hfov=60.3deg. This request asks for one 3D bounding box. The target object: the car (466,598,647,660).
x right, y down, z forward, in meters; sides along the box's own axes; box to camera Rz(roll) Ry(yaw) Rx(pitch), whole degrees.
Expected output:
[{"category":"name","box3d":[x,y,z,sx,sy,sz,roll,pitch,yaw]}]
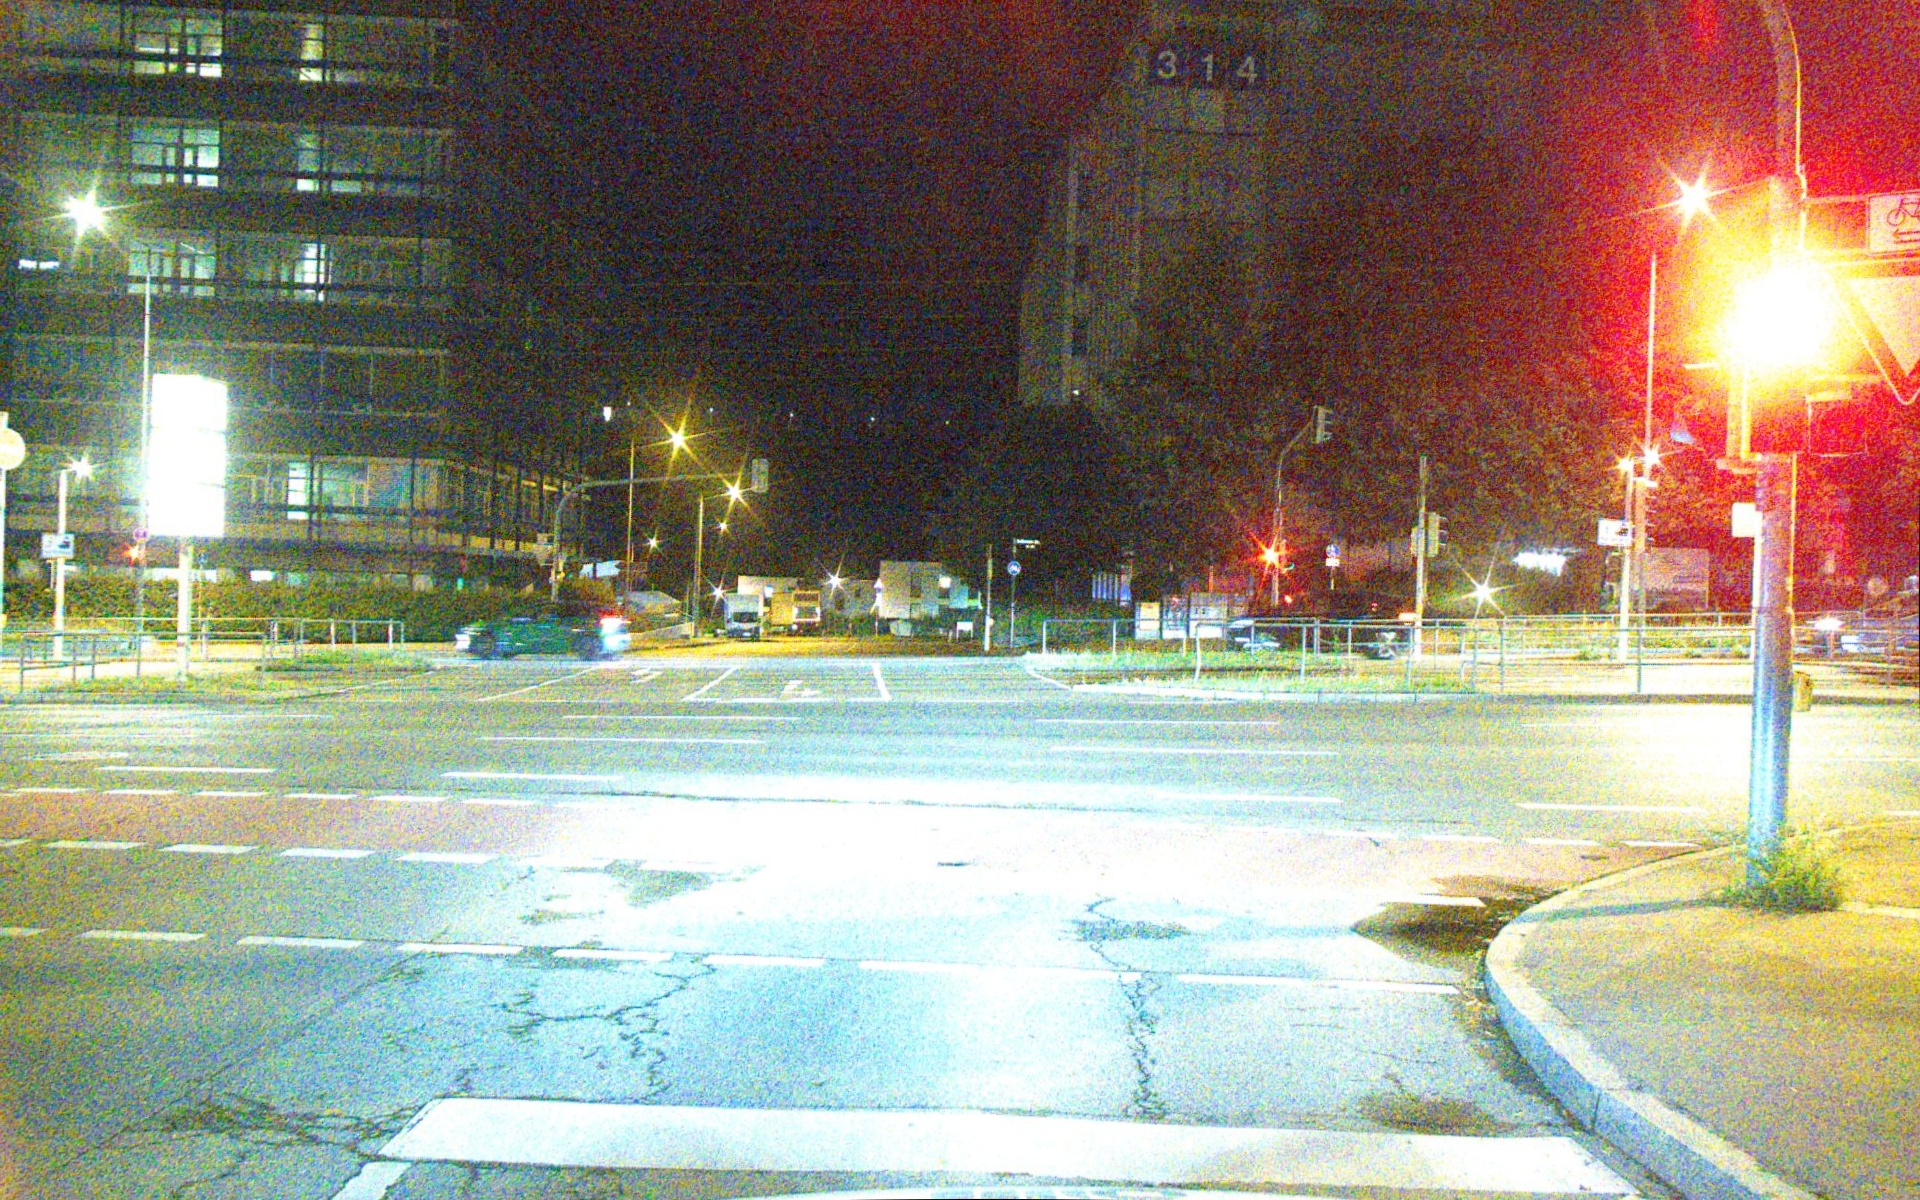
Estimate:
[{"category":"car","box3d":[-9.953,0.698,40.986,3.976,1.449,1.844,0,2,2]}]

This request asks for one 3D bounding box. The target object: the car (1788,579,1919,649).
[{"category":"car","box3d":[22.253,0.359,39.392,4.145,1.613,1.804,1,-1,3]}]

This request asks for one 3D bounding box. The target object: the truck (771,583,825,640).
[{"category":"truck","box3d":[-14.625,1.024,148.604,3.307,4.927,7.868,2,-1,-17]}]

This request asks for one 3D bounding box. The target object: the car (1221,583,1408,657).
[{"category":"car","box3d":[7.872,0.433,36.986,3.903,1.613,1.805,0,0,5]}]

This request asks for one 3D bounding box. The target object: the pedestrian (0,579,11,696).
[{"category":"pedestrian","box3d":[-14.828,0.557,24.832,0.664,1.752,0.705,1,-1,26]}]

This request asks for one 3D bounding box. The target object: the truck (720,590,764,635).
[{"category":"truck","box3d":[-15.752,0.925,119.316,2.377,3.143,6.414,2,-1,-14]}]

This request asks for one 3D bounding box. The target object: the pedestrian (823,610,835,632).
[{"category":"pedestrian","box3d":[-11.656,1.850,147.406,0.836,1.945,1.001,2,-1,-18]}]
